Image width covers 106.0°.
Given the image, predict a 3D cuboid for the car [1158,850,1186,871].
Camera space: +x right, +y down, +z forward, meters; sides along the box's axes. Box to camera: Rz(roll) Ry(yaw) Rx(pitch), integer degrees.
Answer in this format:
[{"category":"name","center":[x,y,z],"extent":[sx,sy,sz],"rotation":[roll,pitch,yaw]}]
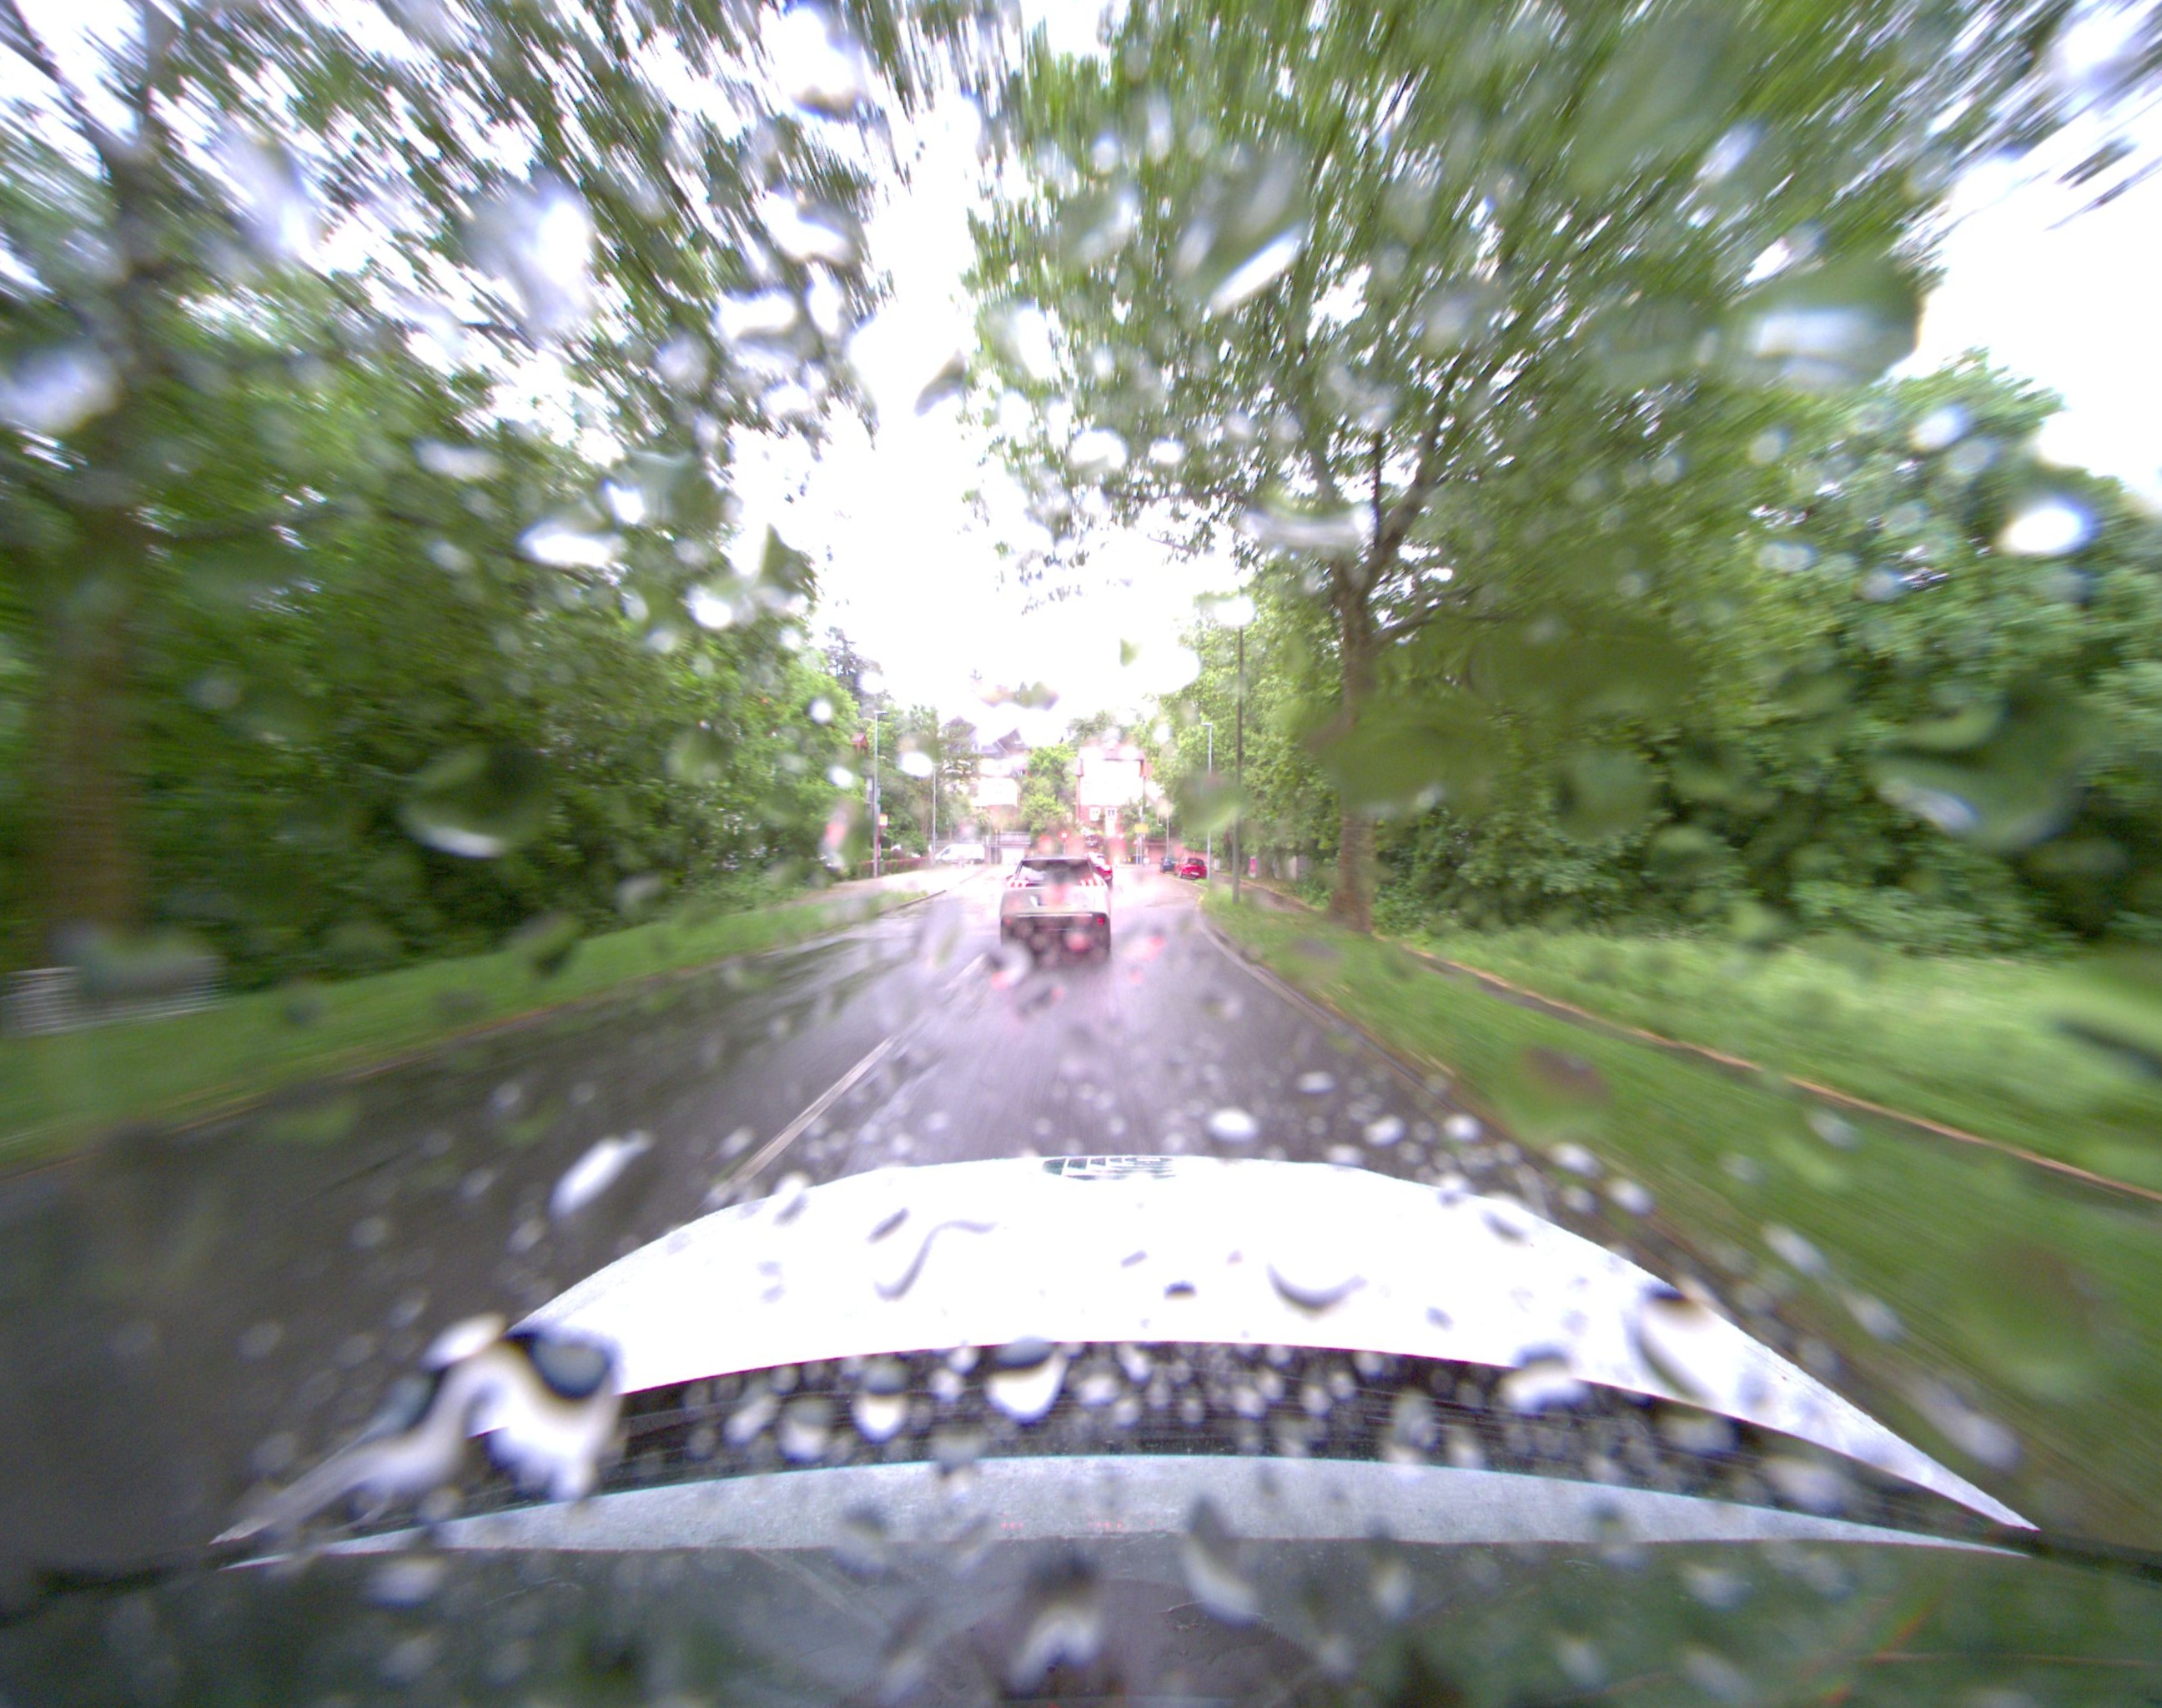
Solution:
[{"category":"car","center":[7.055,0.494,63.147],"extent":[1.743,1.491,3.600],"rotation":[3,0,1]}]

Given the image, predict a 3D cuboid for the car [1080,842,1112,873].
[{"category":"car","center":[0.836,0.168,48.752],"extent":[1.755,1.711,4.600],"rotation":[2,1,-1]}]

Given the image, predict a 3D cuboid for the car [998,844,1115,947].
[{"category":"car","center":[-0.337,0.618,14.440],"extent":[1.746,1.536,4.368],"rotation":[0,0,1]}]

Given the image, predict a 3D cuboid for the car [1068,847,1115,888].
[{"category":"car","center":[0.468,0.519,34.884],"extent":[1.825,1.456,4.660],"rotation":[3,1,1]}]

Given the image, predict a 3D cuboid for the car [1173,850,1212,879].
[{"category":"car","center":[7.293,0.678,53.557],"extent":[1.815,1.517,3.741],"rotation":[7,2,-2]}]

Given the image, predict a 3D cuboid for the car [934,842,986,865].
[{"category":"car","center":[-14.200,-0.019,95.961],"extent":[5.638,2.494,2.317],"rotation":[1,-1,2]}]

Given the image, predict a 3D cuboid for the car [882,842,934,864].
[{"category":"car","center":[-20.393,-0.124,96.259],"extent":[5.541,2.494,2.317],"rotation":[1,-1,2]}]
